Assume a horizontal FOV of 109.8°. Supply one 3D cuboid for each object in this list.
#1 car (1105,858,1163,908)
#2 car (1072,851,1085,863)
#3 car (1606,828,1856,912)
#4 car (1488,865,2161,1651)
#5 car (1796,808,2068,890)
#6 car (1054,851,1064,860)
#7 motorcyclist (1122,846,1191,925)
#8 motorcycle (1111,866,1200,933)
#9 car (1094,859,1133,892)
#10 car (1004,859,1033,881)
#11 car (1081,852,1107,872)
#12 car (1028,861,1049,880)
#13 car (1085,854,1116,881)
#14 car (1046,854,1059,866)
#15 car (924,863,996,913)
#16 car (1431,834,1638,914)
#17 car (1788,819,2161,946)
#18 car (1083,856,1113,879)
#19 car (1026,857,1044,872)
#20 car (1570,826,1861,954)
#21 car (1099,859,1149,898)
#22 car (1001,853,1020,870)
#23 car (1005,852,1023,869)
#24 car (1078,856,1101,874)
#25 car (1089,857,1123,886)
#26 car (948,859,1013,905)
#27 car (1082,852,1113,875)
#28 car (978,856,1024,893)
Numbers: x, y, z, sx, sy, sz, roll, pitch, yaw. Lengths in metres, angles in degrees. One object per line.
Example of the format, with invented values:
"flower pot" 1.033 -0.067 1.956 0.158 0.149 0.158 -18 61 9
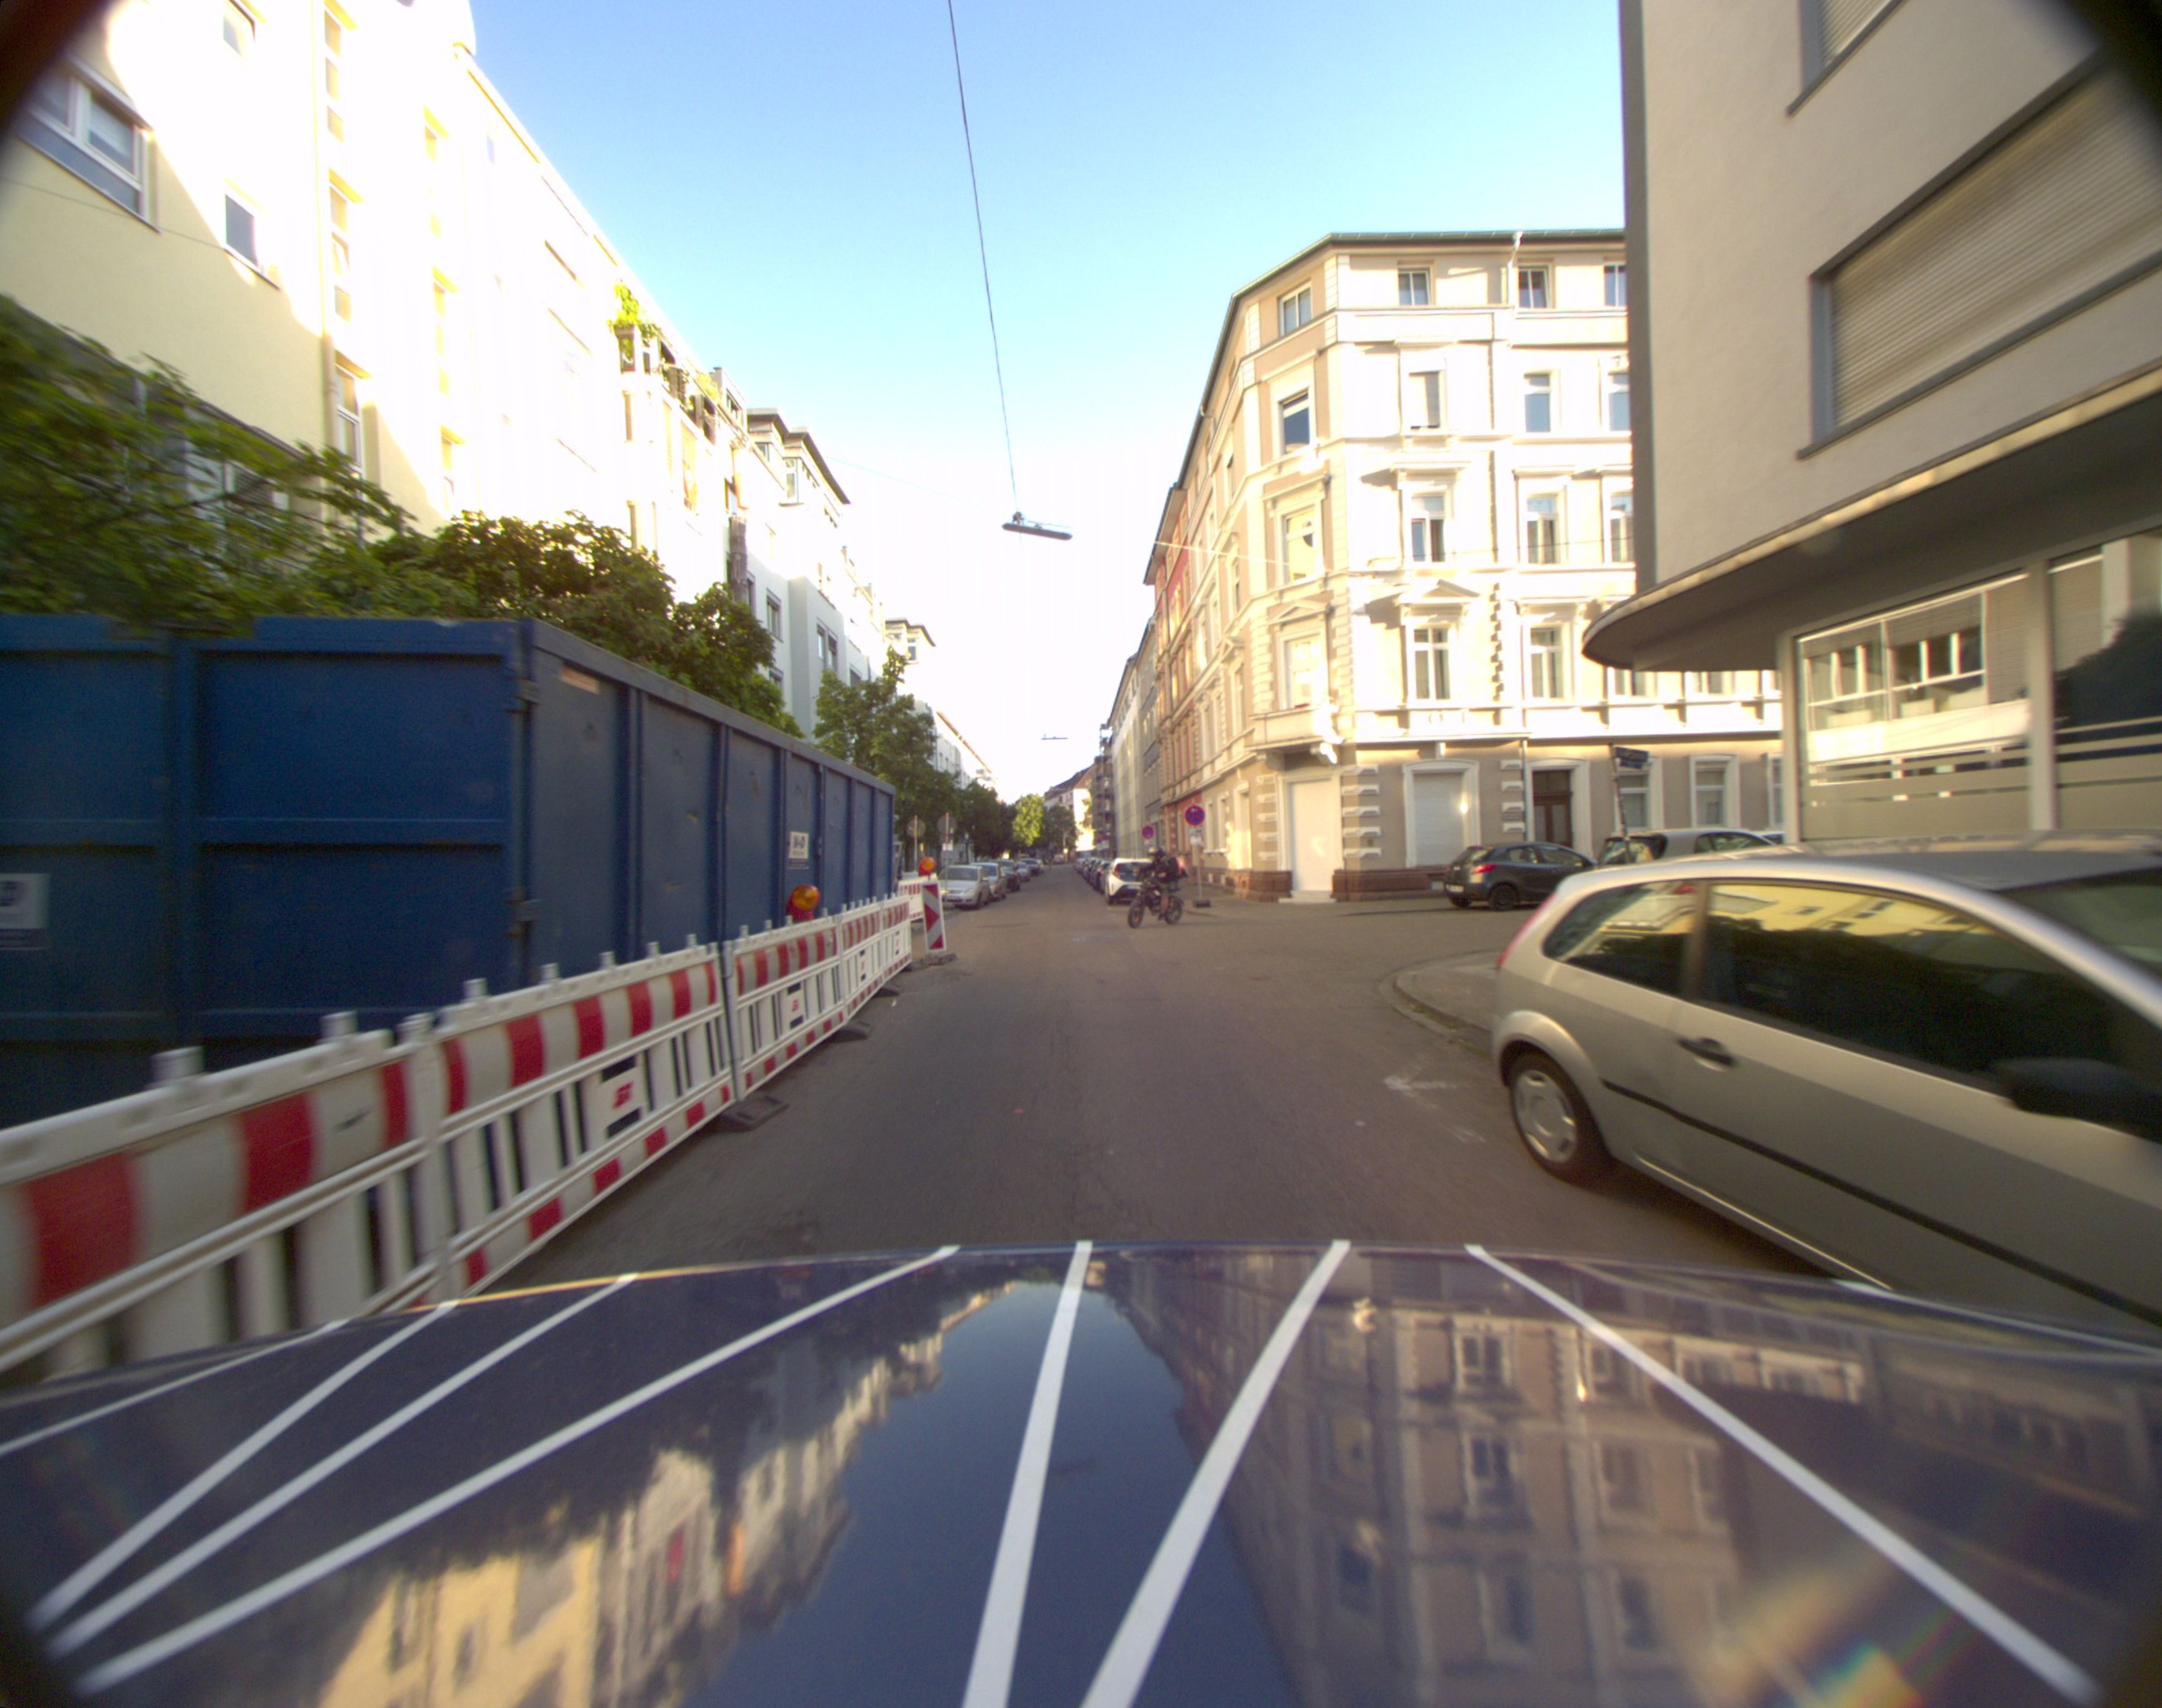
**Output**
"car" 1.709 0.916 25.669 1.688 1.487 3.844 1 0 0
"car" -0.497 0.462 125.813 1.999 1.783 3.999 -3 0 -1
"car" 14.362 0.333 16.946 4.091 1.551 1.834 -3 0 -4
"car" 2.870 0.805 1.850 1.637 1.421 3.554 -3 0 -4
"car" 19.288 -0.116 17.357 4.091 1.551 2.008 -3 0 -3
"car" -4.488 0.278 155.634 1.999 1.783 3.999 -3 0 -1
"motorcyclist" 1.564 0.649 15.837 1.001 1.558 0.872 -3 -1 -40
"motorcycle" 1.556 0.936 15.799 1.701 1.242 0.805 -3 -2 -41
"car" 1.470 0.966 36.054 1.589 1.407 3.911 1 0 -1
"car" -4.582 1.152 55.936 1.856 1.480 3.999 -3 0 -2
"car" 1.113 0.706 68.162 1.999 1.576 4.492 -3 0 -2
"car" -4.042 1.527 72.599 1.856 1.649 3.999 -3 0 -3
"car" 1.169 0.817 47.189 1.598 1.513 4.429 -3 0 -2
"car" -4.525 0.882 121.266 1.999 1.783 3.999 -3 0 -1
"car" -4.053 1.082 26.011 1.638 1.439 4.066 -3 0 1
"car" 9.872 0.409 16.685 3.589 1.471 1.686 -3 0 -7
"car" 12.973 0.340 10.685 4.261 1.444 1.967 -3 0 -2
"car" 1.141 0.895 53.125 1.662 1.420 4.352 -3 0 -3
"car" -5.119 1.127 84.875 1.903 1.509 4.223 -3 0 -2
"car" 8.957 0.475 10.906 2.762 1.556 1.648 -3 0 -1
"car" 1.682 0.927 30.631 1.614 1.419 3.961 0 0 -2
"car" -8.708 0.888 94.521 1.999 2.002 3.999 -3 0 -2
"car" -8.723 0.808 99.011 1.999 2.002 3.999 -3 0 -2
"car" 0.766 0.989 72.860 1.999 1.566 4.149 -3 0 -1
"car" 1.326 0.913 42.182 1.537 1.490 4.194 -1 0 -3
"car" -3.981 1.070 30.740 1.912 1.576 4.000 -3 0 1
"car" 1.208 0.699 58.242 1.999 1.640 4.492 -3 0 -2
"car" -4.107 1.013 39.693 1.863 1.679 4.390 -3 0 0
